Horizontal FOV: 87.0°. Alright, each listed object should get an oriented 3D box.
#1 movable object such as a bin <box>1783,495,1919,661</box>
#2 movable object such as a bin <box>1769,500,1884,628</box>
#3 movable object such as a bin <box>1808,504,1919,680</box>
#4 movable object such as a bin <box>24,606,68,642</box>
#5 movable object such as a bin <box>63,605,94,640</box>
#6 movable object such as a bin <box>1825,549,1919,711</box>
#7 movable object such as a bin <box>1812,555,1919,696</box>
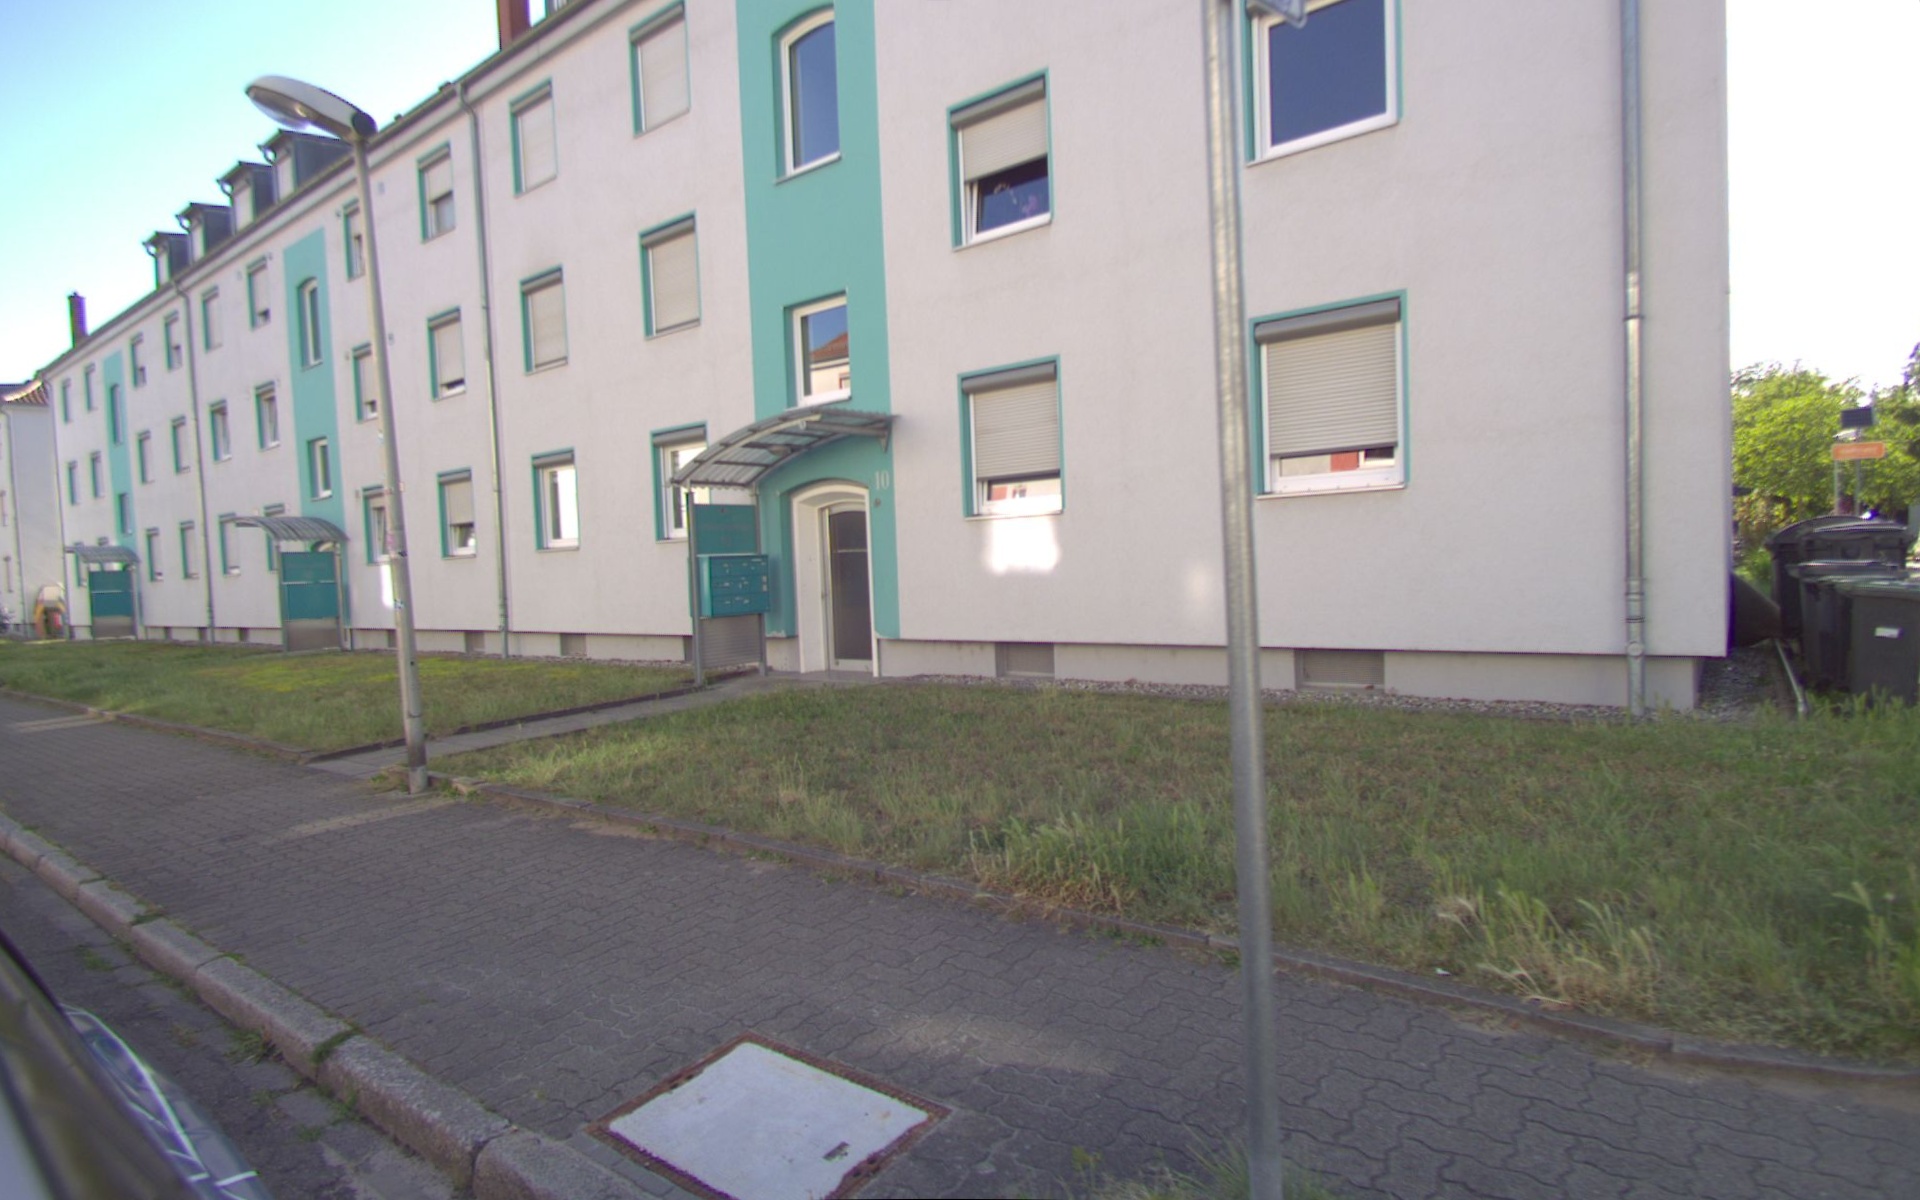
[{"bbox_3d":[8.817,-0.226,9.985,1.044,1.521,1.127,-1,2,41],"label":"movable object such as a bin"},{"bbox_3d":[10.970,-0.451,12.834,1.044,1.521,1.209,-1,2,41],"label":"movable object such as a bin"},{"bbox_3d":[7.846,-0.087,8.680,0.847,1.411,1.051,-1,2,41],"label":"movable object such as a bin"},{"bbox_3d":[-37.219,0.975,41.225,0.876,1.403,1.153,-2,2,38],"label":"movable object such as a bin"},{"bbox_3d":[-36.614,0.931,42.037,0.761,1.403,0.744,-2,2,36],"label":"movable object such as a bin"},{"bbox_3d":[6.145,0.180,6.587,0.713,0.999,0.607,-2,2,37],"label":"movable object such as a bin"},{"bbox_3d":[6.443,0.169,7.209,0.532,0.956,0.493,-1,2,38],"label":"movable object such as a bin"}]
